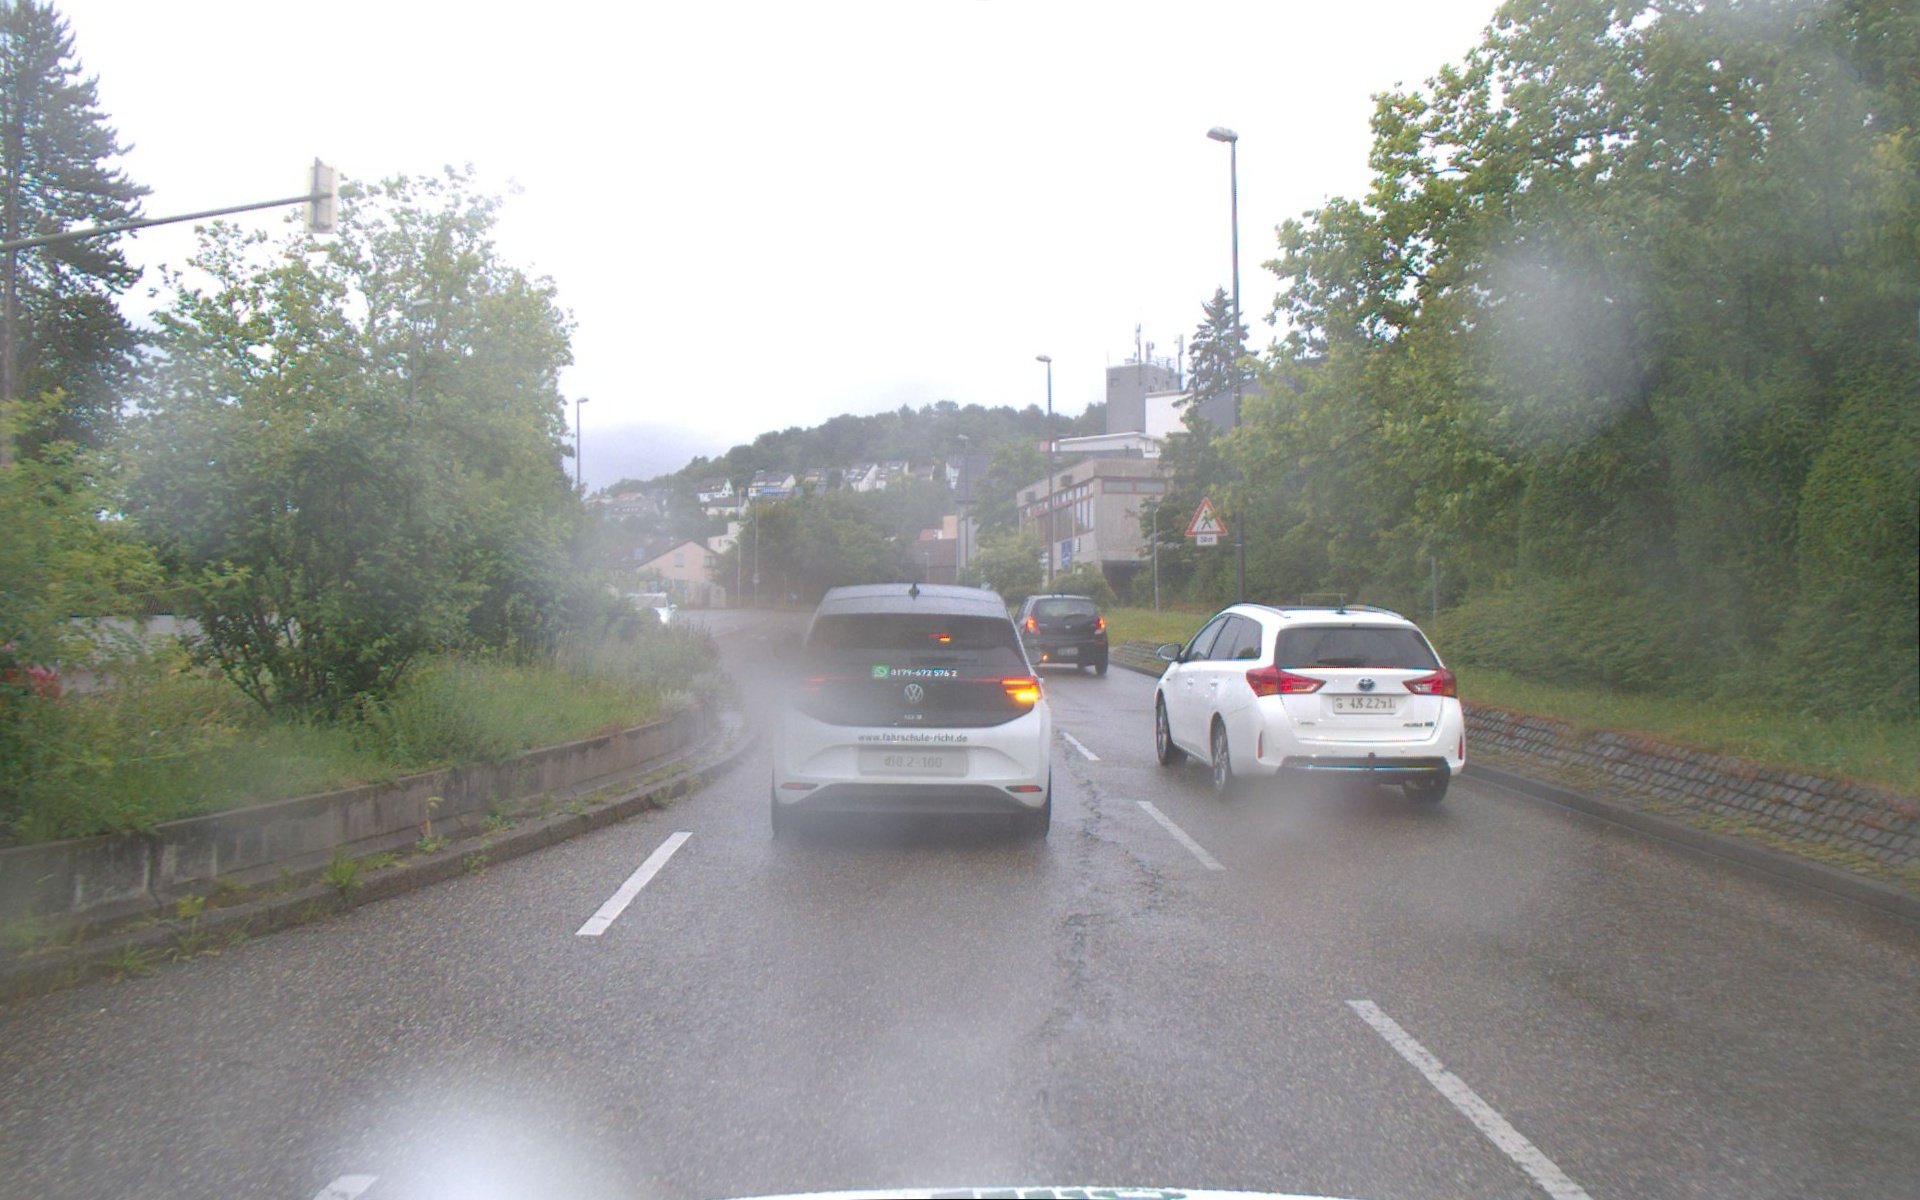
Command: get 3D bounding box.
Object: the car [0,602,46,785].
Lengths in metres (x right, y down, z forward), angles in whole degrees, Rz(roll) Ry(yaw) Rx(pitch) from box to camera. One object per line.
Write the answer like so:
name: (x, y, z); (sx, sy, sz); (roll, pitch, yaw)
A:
car: (-8.509, 0.713, 11.486); (1.953, 1.439, 4.429); (0, -1, -2)

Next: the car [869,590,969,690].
car: (-0.750, 0.616, 27.768); (1.536, 1.557, 3.997); (0, 0, -3)

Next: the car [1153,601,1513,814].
car: (2.801, 0.764, 13.435); (1.811, 1.434, 4.299); (1, -1, -2)

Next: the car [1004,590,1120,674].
car: (1.943, 0.625, 32.611); (1.953, 1.478, 3.770); (-2, -1, -1)

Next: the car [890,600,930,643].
car: (-2.509, 1.087, 83.901); (1.953, 2.049, 3.999); (1, -1, -1)

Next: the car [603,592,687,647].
car: (-10.082, 0.605, 53.233); (1.953, 1.691, 4.596); (-1, 0, -2)

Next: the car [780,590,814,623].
car: (-10.627, 0.450, 108.028); (1.954, 2.049, 3.997); (1, -1, -3)

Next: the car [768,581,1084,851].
car: (-0.223, 0.691, 11.533); (1.791, 1.526, 4.167); (1, -1, -1)
